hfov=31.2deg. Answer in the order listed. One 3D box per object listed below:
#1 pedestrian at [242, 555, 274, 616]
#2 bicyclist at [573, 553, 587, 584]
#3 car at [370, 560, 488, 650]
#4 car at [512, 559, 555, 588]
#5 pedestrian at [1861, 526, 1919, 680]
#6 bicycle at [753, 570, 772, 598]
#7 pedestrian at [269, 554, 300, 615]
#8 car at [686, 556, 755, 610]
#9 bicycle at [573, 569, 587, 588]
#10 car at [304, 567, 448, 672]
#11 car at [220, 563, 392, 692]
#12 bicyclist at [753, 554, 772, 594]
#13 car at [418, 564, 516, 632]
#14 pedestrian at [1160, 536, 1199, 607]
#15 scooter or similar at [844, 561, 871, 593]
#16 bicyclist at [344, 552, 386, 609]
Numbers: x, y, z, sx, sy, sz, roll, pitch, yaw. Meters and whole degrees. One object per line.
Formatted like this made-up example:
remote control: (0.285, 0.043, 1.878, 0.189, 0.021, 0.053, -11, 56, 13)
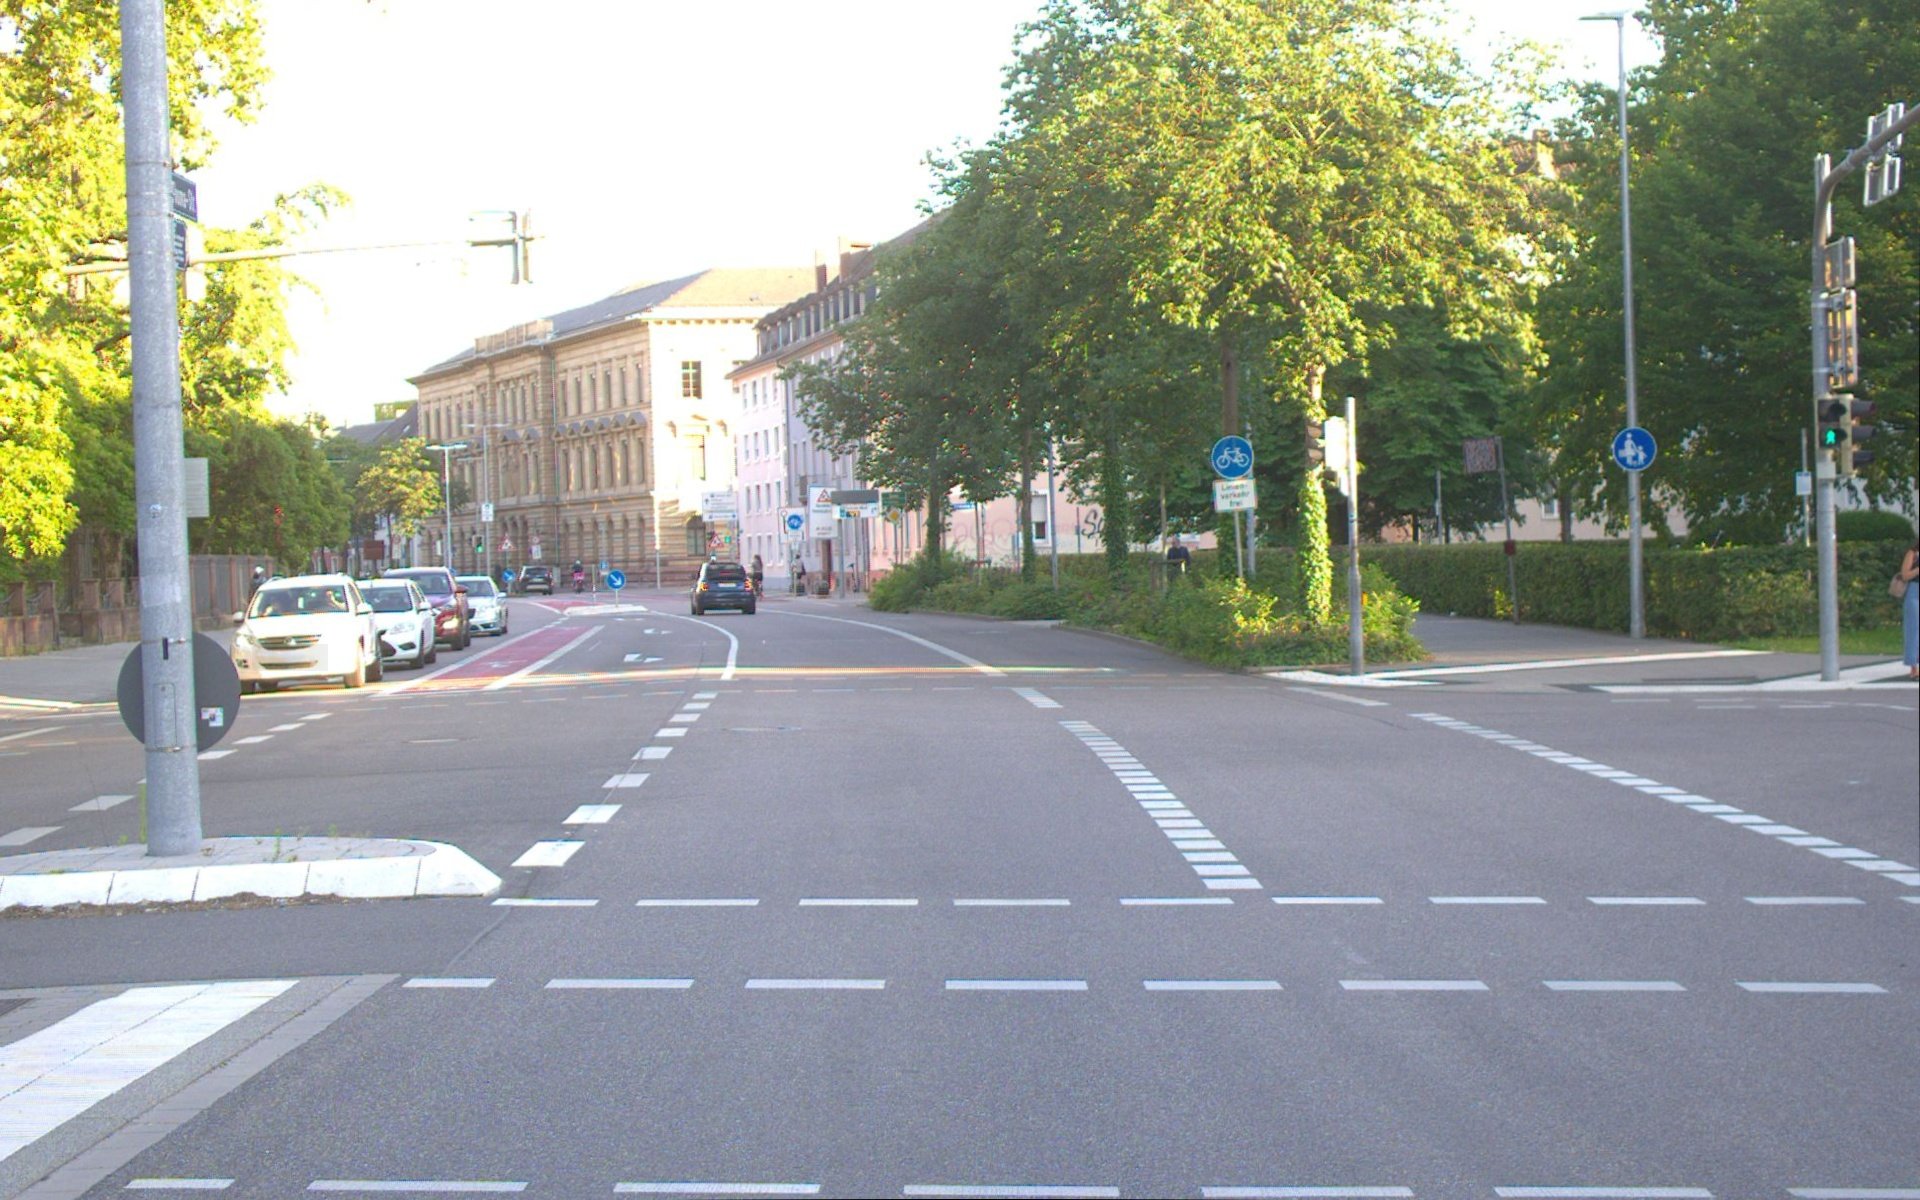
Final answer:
pedestrian: (-18.781, -0.388, 91.943, 0.681, 1.617, 0.688, -2, 1, -1)
bicyclist: (-20.816, -1.724, 188.304, 0.652, 1.692, 0.957, 1, 0, -9)
car: (-10.552, 0.073, 68.602, 1.916, 1.619, 4.640, -3, 1, -5)
car: (-22.779, -1.424, 183.406, 1.916, 1.413, 4.771, -4, 1, -10)
pedestrian: (10.140, 0.022, 36.879, 0.681, 1.616, 0.845, -2, 1, -1)
bicycle: (-7.395, -0.615, 128.572, 0.652, 1.012, 2.198, 1, 1, -4)
pedestrian: (-18.061, -0.425, 91.903, 0.680, 1.617, 0.688, -2, 1, -4)
car: (-6.875, -0.487, 98.947, 1.867, 1.505, 4.000, -1, 0, -3)
bicycle: (-20.832, -1.165, 188.355, 0.652, 1.012, 2.198, 1, 1, -9)
car: (-9.864, 0.296, 58.355, 1.916, 1.578, 4.675, -3, 1, -5)
car: (-9.522, 0.360, 50.368, 1.916, 1.690, 4.427, -3, 1, -5)
bicyclist: (-7.388, -0.967, 128.507, 0.652, 1.470, 0.941, 1, 0, -4)
car: (-11.501, -0.072, 80.452, 1.916, 1.413, 4.771, -3, 1, -5)
pedestrian: (5.447, -0.709, 85.305, 0.769, 1.733, 0.807, -2, 1, -10)
scooter or similar: (-4.326, -0.986, 145.350, 0.629, 1.332, 2.401, -1, 1, -14)
bicyclist: (-15.138, -0.509, 87.485, 0.855, 1.426, 0.943, -1, 1, 0)
